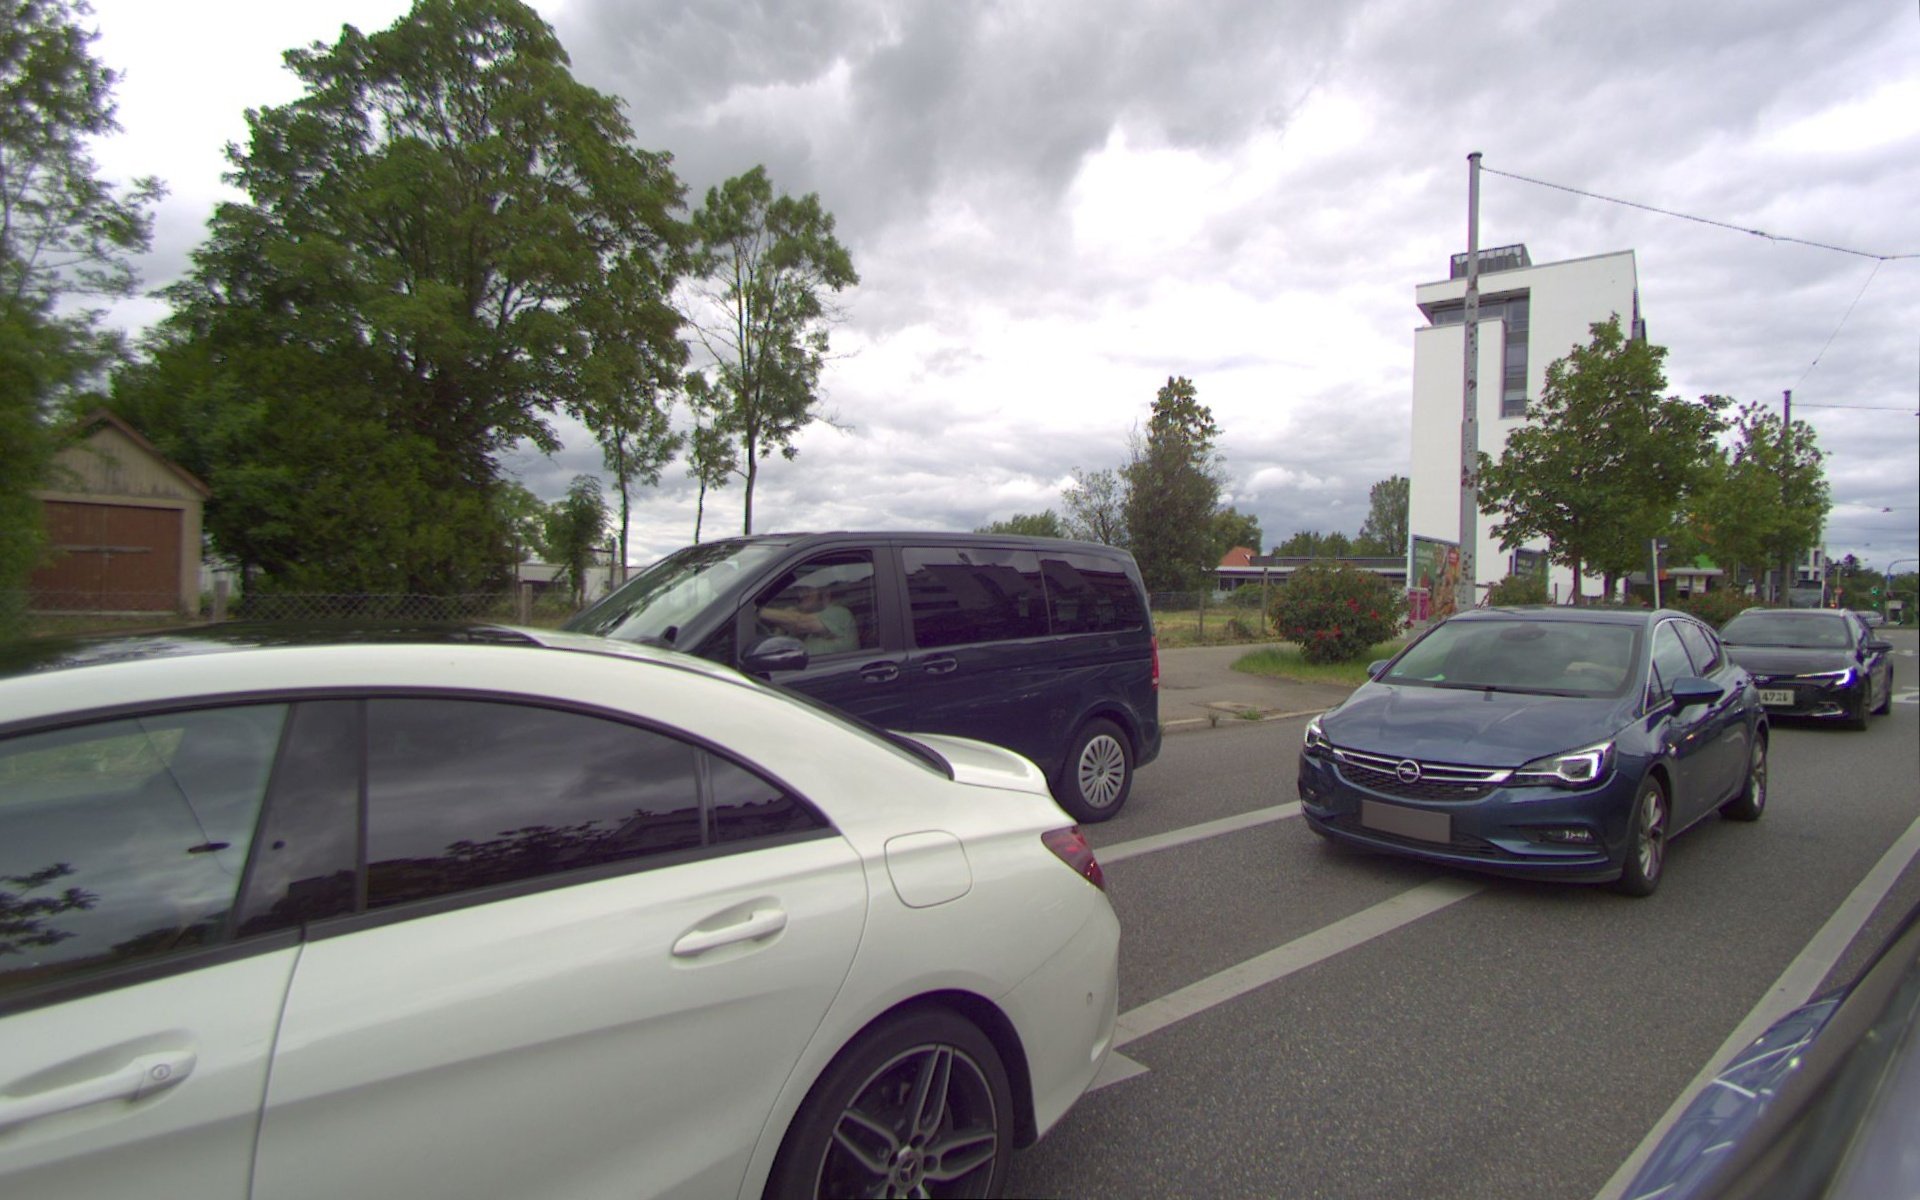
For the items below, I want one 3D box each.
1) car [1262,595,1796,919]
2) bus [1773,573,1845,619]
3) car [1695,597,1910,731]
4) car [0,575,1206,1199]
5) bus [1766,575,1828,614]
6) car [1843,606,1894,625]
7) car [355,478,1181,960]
[{"bbox_3d":[3.809,0.687,6.480,3.931,1.428,1.825,0,0,-42],"label":"car"},{"bbox_3d":[53.958,-0.316,64.567,2.952,2.664,11.986,0,1,37],"label":"bus"},{"bbox_3d":[11.020,0.700,13.149,3.855,1.475,1.663,0,0,-43],"label":"car"},{"bbox_3d":[-1.539,0.692,1.813,4.300,1.451,1.652,0,1,-41],"label":"car"},{"bbox_3d":[61.426,-0.451,74.467,2.952,2.664,12.751,0,1,37],"label":"bus"},{"bbox_3d":[82.172,1.377,91.543,3.703,1.637,1.856,0,-1,-18],"label":"car"},{"bbox_3d":[-0.859,0.458,6.182,4.627,1.863,1.952,0,-1,-41],"label":"car"}]
